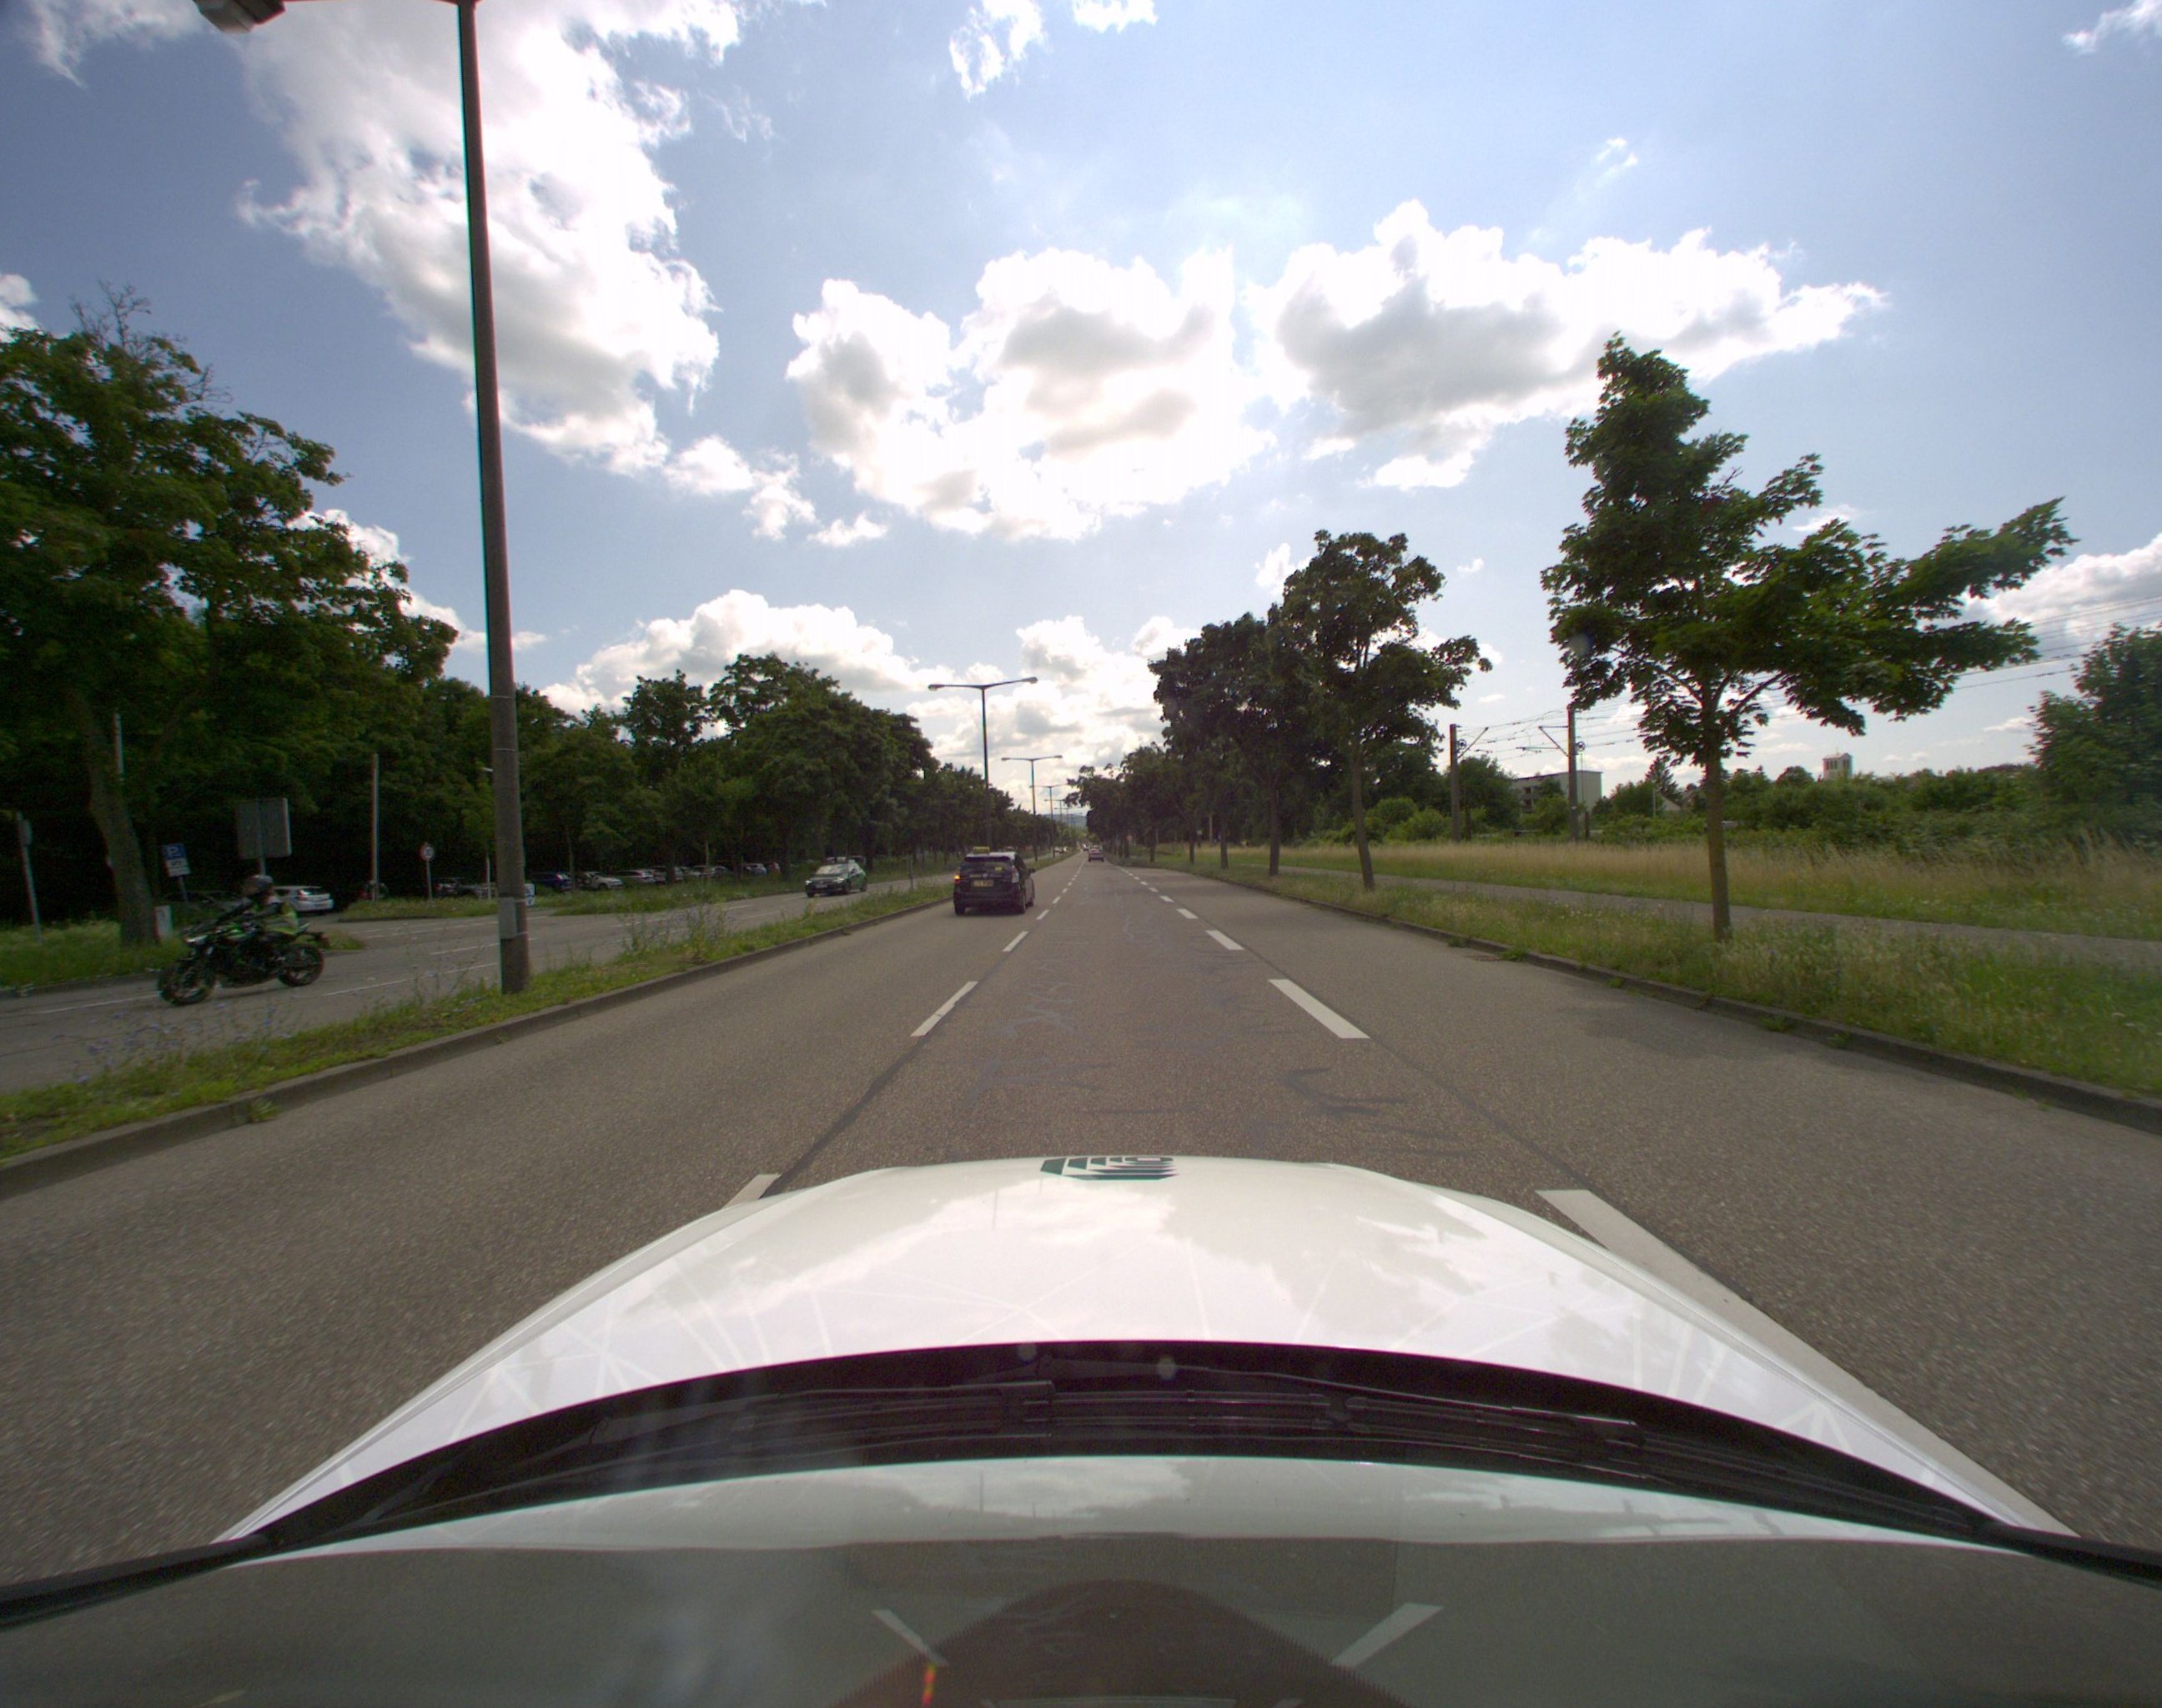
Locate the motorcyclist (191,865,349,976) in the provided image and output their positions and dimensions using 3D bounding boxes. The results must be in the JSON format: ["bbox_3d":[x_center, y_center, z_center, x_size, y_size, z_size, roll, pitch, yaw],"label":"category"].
[{"bbox_3d":[-11.307,0.891,11.419,0.824,1.414,1.329,-1,1,2],"label":"motorcyclist"}]

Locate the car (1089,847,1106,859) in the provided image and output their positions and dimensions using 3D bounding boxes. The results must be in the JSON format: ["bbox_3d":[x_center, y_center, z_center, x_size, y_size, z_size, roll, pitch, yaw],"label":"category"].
[{"bbox_3d":[2.091,-0.136,104.039,1.987,1.508,4.000,-1,1,0],"label":"car"}]

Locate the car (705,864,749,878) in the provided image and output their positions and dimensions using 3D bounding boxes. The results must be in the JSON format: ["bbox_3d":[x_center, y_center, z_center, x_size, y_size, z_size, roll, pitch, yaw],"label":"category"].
[{"bbox_3d":[-36.291,1.752,83.516,3.766,1.387,1.788,-1,1,5],"label":"car"}]

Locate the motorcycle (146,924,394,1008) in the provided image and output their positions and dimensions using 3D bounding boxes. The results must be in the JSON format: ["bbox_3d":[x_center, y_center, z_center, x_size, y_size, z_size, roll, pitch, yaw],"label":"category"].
[{"bbox_3d":[-11.262,1.514,11.512,0.749,0.772,2.673,-1,1,2],"label":"motorcycle"}]

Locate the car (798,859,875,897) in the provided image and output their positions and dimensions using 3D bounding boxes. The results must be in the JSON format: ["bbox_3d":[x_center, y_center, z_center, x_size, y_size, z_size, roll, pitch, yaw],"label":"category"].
[{"bbox_3d":[-10.845,1.012,36.441,1.746,1.459,4.475,-1,1,4],"label":"car"}]

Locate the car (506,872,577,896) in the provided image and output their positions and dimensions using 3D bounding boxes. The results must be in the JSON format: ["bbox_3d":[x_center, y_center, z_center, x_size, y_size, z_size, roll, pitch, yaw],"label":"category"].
[{"bbox_3d":[-37.329,2.065,56.399,3.766,1.568,1.788,-1,1,5],"label":"car"}]

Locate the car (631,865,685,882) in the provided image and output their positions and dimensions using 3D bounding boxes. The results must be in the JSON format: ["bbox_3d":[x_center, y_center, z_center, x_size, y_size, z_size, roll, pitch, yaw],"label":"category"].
[{"bbox_3d":[-37.280,1.752,71.788,3.766,1.387,1.788,-1,1,5],"label":"car"}]

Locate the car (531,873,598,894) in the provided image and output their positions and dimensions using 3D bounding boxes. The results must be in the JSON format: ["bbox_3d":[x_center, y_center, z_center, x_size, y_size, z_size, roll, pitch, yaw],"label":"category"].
[{"bbox_3d":[-37.572,2.132,59.303,3.766,1.387,1.788,-1,1,5],"label":"car"}]

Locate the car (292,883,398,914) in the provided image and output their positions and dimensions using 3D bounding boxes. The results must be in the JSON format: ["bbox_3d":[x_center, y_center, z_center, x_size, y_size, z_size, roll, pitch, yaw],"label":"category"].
[{"bbox_3d":[-37.512,2.247,41.586,3.771,1.386,1.786,-1,1,1],"label":"car"}]

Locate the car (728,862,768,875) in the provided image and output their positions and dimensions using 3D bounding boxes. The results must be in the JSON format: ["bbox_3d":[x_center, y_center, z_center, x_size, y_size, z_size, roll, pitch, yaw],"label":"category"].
[{"bbox_3d":[-37.453,1.630,91.641,3.766,1.387,1.788,-1,1,5],"label":"car"}]

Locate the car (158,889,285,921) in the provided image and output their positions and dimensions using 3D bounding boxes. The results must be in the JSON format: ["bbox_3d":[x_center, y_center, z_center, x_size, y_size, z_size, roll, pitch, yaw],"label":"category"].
[{"bbox_3d":[-37.983,2.245,36.046,3.769,1.247,1.787,-1,1,3],"label":"car"}]

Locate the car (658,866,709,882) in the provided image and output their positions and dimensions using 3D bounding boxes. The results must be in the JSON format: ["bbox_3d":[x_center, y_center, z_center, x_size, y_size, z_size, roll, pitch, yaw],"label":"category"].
[{"bbox_3d":[-36.904,1.869,75.653,3.766,1.387,1.788,-1,1,5],"label":"car"}]

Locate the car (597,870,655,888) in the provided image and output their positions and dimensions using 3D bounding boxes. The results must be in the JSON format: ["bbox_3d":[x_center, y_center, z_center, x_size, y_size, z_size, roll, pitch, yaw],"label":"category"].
[{"bbox_3d":[-37.128,2.025,66.462,3.766,1.387,1.788,-1,1,5],"label":"car"}]

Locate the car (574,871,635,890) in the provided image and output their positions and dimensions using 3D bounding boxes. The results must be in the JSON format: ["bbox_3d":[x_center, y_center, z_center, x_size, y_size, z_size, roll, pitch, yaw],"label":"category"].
[{"bbox_3d":[-37.244,2.078,63.673,3.766,1.387,1.788,-1,1,5],"label":"car"}]

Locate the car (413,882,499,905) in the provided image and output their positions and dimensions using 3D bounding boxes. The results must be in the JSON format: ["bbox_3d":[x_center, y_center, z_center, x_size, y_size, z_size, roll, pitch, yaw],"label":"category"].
[{"bbox_3d":[-37.422,2.346,48.834,3.771,1.247,1.786,-1,1,1],"label":"car"}]

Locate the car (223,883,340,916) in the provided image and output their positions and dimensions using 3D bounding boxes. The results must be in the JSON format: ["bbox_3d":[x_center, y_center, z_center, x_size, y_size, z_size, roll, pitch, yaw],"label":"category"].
[{"bbox_3d":[-37.786,2.132,38.539,3.771,1.428,1.786,-1,1,1],"label":"car"}]

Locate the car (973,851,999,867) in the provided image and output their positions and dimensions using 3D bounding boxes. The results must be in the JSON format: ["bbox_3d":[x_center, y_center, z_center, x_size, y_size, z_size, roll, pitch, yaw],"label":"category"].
[{"bbox_3d":[-9.576,0.515,82.549,1.870,1.508,3.803,-1,1,5],"label":"car"}]

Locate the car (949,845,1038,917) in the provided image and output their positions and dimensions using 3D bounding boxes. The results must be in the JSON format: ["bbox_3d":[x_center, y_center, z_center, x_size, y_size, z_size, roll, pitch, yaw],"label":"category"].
[{"bbox_3d":[-2.217,0.626,21.617,1.772,1.684,4.002,-1,1,2],"label":"car"}]

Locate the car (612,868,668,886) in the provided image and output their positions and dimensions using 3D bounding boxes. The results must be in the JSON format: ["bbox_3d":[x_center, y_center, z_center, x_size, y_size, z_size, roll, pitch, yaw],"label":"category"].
[{"bbox_3d":[-37.389,1.956,69.096,3.765,1.387,1.789,-1,1,6],"label":"car"}]

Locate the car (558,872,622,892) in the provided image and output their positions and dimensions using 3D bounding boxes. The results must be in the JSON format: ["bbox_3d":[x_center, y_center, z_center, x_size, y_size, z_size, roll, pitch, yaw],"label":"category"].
[{"bbox_3d":[-37.193,2.090,61.706,3.766,1.387,1.788,-1,1,5],"label":"car"}]
